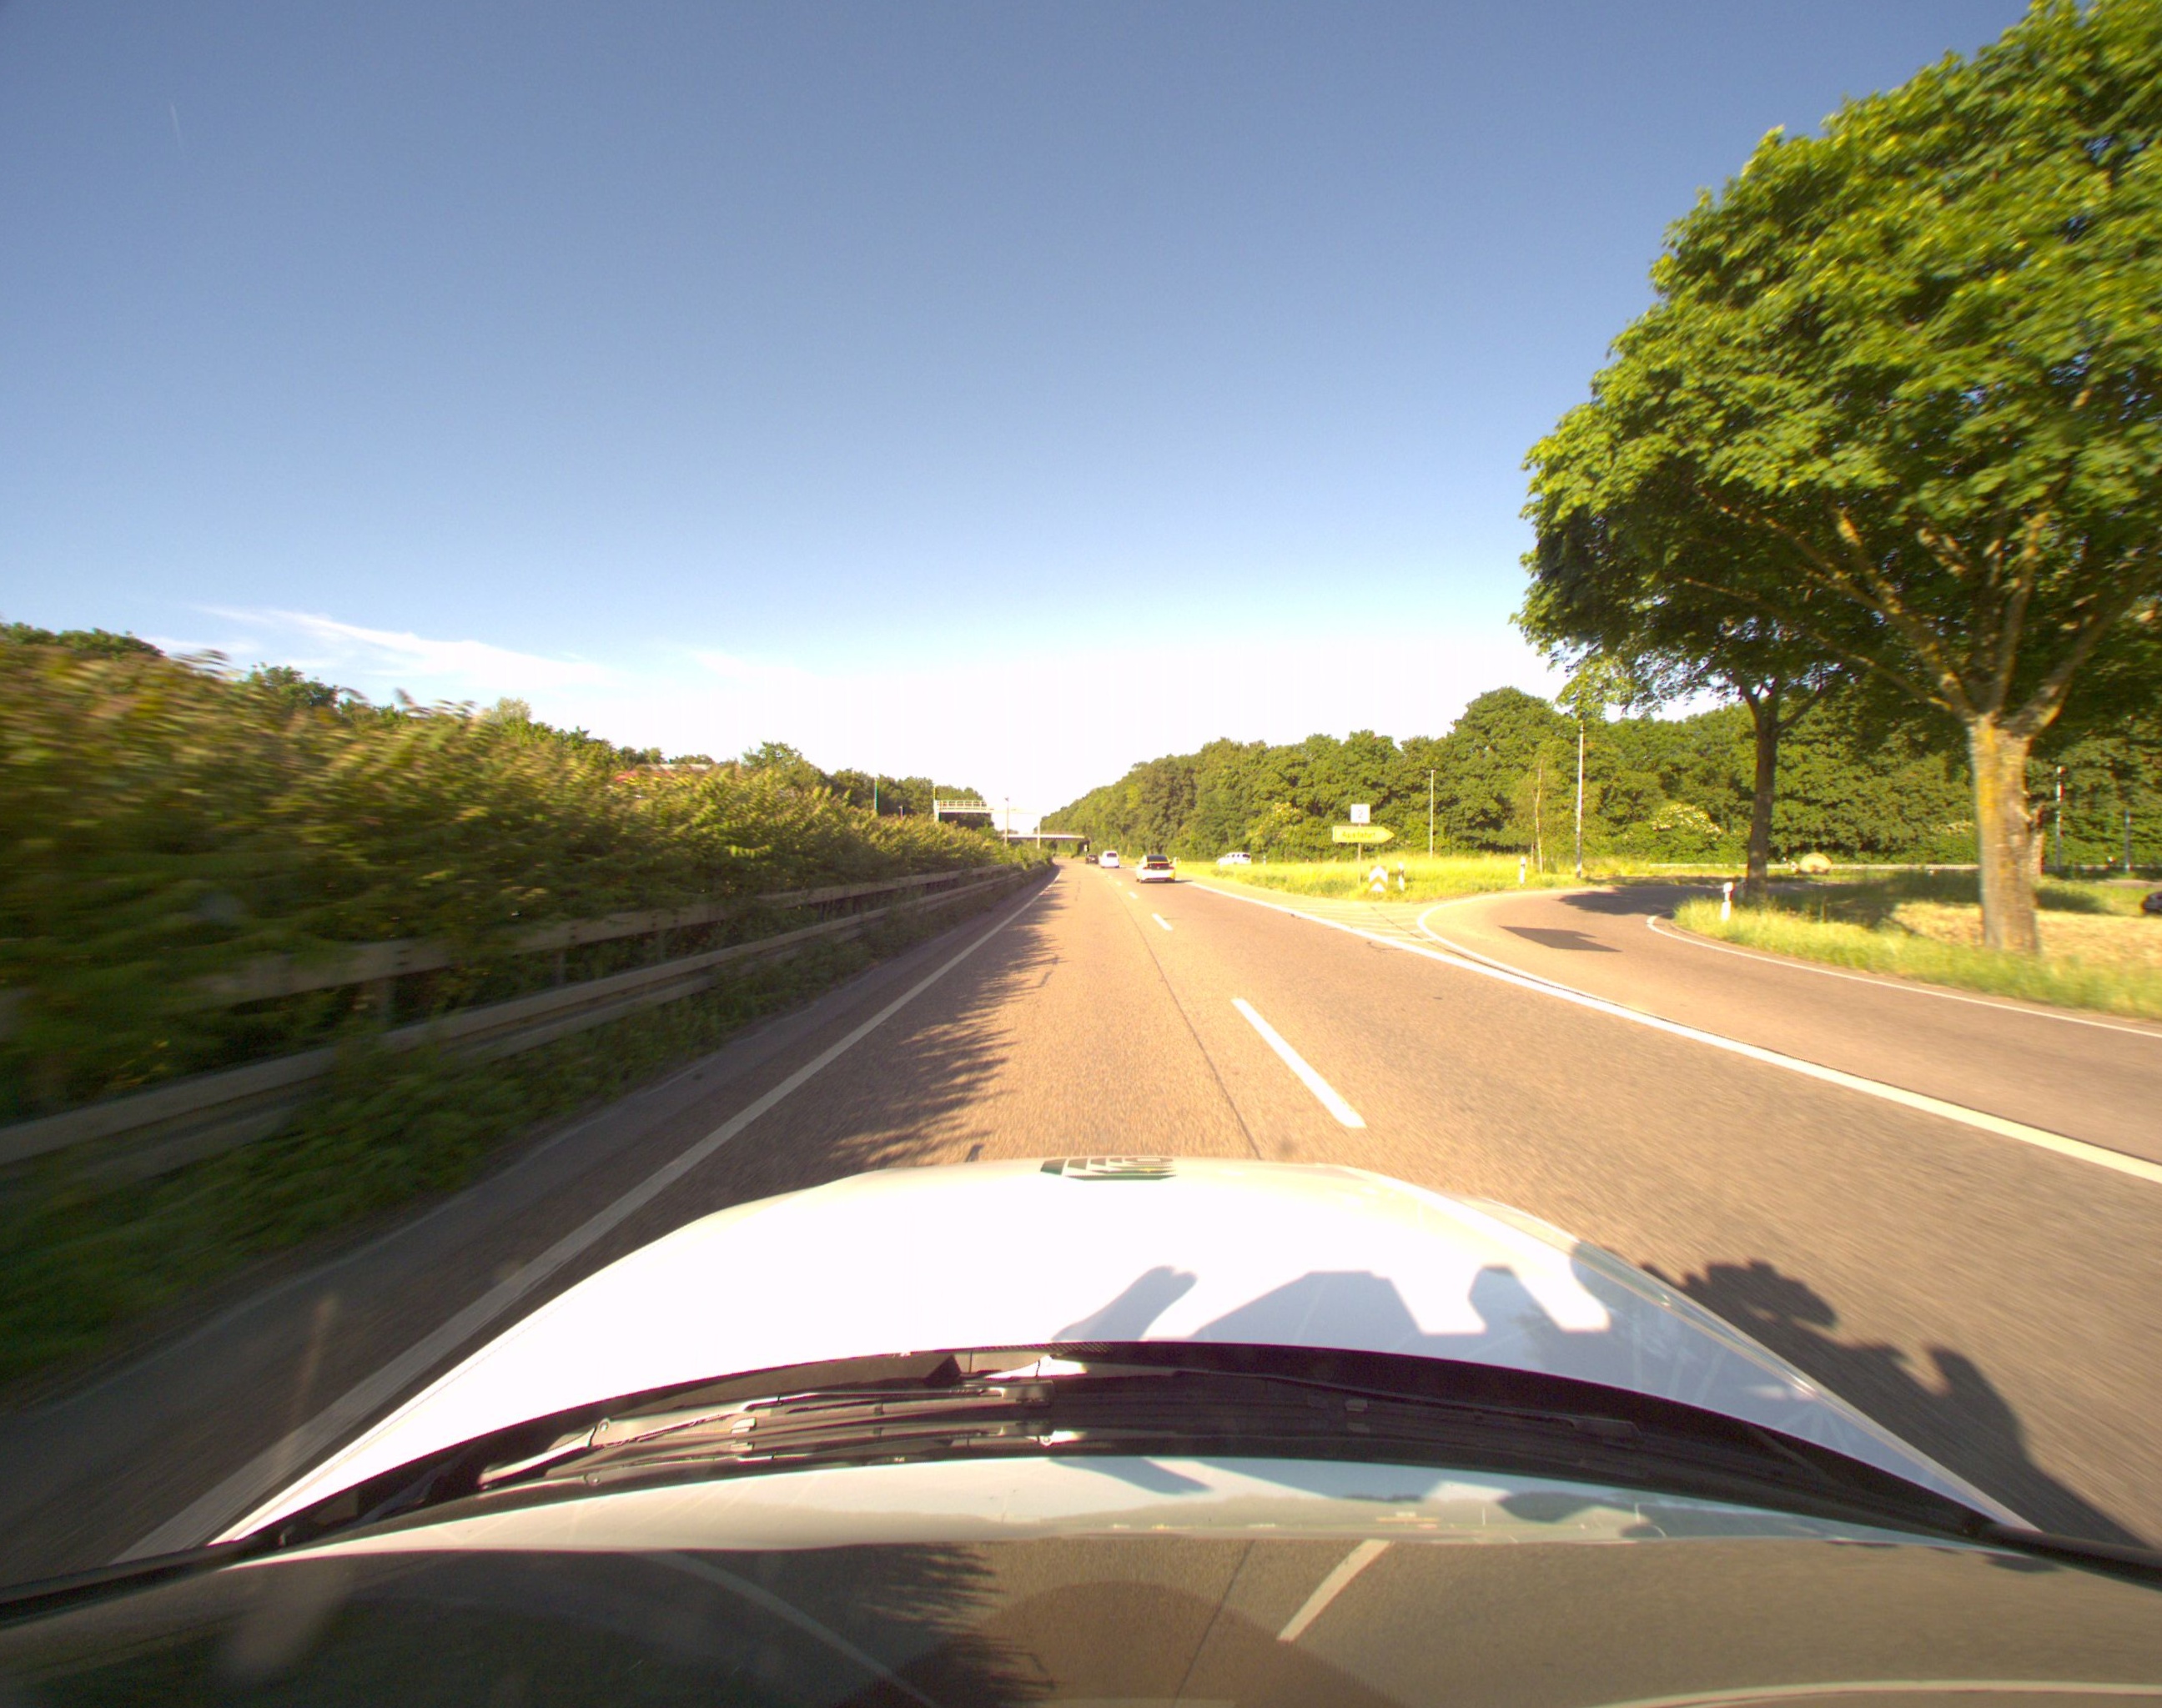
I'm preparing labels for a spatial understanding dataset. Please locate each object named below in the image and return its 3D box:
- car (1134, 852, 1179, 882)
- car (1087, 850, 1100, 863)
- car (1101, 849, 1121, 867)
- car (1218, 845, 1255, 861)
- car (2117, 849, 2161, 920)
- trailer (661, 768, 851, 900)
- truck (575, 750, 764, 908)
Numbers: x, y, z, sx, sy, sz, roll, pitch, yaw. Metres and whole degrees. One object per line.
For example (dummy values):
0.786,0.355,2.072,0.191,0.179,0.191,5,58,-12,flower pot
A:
3.949,0.641,42.948,1.892,1.471,3.998,-1,0,-1,car
1.809,0.367,120.660,1.891,1.767,4.000,-1,0,0,car
3.147,0.389,86.519,1.892,1.767,3.998,-2,1,-1,car
17.680,-0.092,92.813,1.911,1.824,3.958,-1,0,-33,car
26.090,0.759,17.621,4.172,1.560,1.799,2,-1,31,car
-11.693,-0.669,30.828,2.639,4.123,10.702,0,0,1,trailer
-11.854,-0.679,24.097,2.639,4.123,5.563,0,0,1,truck
